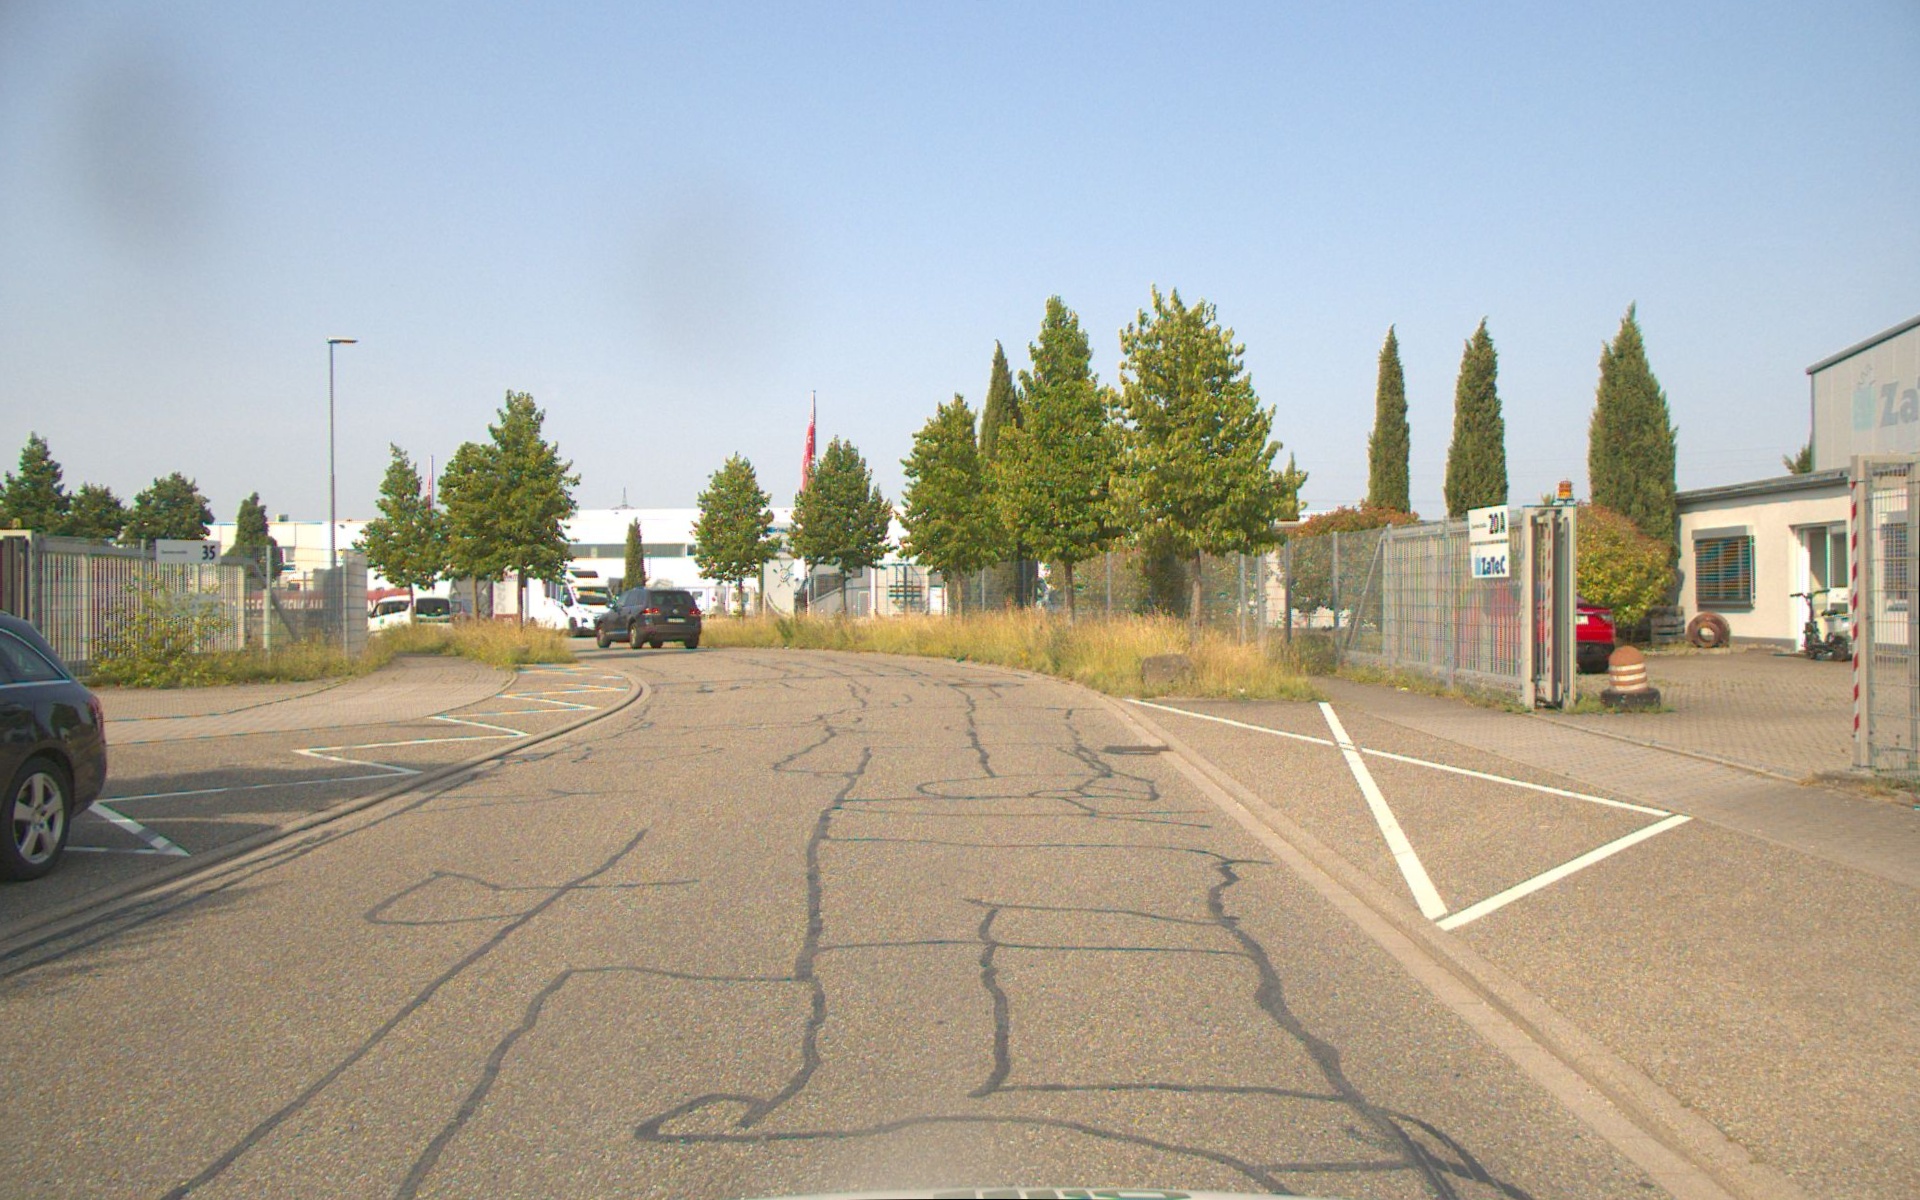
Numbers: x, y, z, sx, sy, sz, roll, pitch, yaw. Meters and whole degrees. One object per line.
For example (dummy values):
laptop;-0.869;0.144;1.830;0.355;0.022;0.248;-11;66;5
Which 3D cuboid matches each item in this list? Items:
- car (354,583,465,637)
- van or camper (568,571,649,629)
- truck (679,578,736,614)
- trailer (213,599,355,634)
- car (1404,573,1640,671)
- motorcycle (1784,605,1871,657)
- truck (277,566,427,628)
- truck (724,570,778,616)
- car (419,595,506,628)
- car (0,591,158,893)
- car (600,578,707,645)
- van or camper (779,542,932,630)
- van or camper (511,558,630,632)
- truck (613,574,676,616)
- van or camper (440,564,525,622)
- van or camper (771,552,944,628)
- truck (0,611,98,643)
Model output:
car;-20.579;0.366;61.742;4.385;1.932;1.989;0;0;41
van or camper;-16.539;-0.042;78.180;2.432;2.603;6.625;0;1;0
truck;-16.393;-0.272;108.023;2.400;2.305;8.002;0;0;1
trailer;-31.293;0.733;76.339;9.294;1.412;2.614;-1;2;45
car;8.701;0.305;26.081;1.843;1.381;4.770;-1;0;-4
motorcycle;13.791;0.481;26.339;0.523;0.764;1.583;-2;0;0
truck;-40.890;-0.208;111.448;9.098;4.042;2.457;0;0;-3
truck;-13.599;-0.451;107.994;2.400;2.876;8.002;0;0;1
car;-23.361;0.527;77.821;2.119;1.502;4.003;-1;0;15
car;-5.787;0.717;7.652;1.952;1.492;4.432;1;1;0
car;-8.804;0.334;47.331;1.970;1.836;3.965;1;-1;-27
van or camper;-3.788;-0.444;58.180;2.325;2.898;7.264;0;0;-31
van or camper;-16.633;-0.203;70.267;2.314;2.995;6.877;0;0;-37
truck;-19.992;-0.327;105.336;2.400;2.514;8.002;0;0;1
van or camper;-26.733;-0.432;92.839;2.607;3.138;6.797;0;1;2
van or camper;-4.356;-0.419;69.688;7.119;3.085;2.582;-1;0;-7
truck;-40.641;1.162;73.267;6.415;1.287;2.515;0;0;44
